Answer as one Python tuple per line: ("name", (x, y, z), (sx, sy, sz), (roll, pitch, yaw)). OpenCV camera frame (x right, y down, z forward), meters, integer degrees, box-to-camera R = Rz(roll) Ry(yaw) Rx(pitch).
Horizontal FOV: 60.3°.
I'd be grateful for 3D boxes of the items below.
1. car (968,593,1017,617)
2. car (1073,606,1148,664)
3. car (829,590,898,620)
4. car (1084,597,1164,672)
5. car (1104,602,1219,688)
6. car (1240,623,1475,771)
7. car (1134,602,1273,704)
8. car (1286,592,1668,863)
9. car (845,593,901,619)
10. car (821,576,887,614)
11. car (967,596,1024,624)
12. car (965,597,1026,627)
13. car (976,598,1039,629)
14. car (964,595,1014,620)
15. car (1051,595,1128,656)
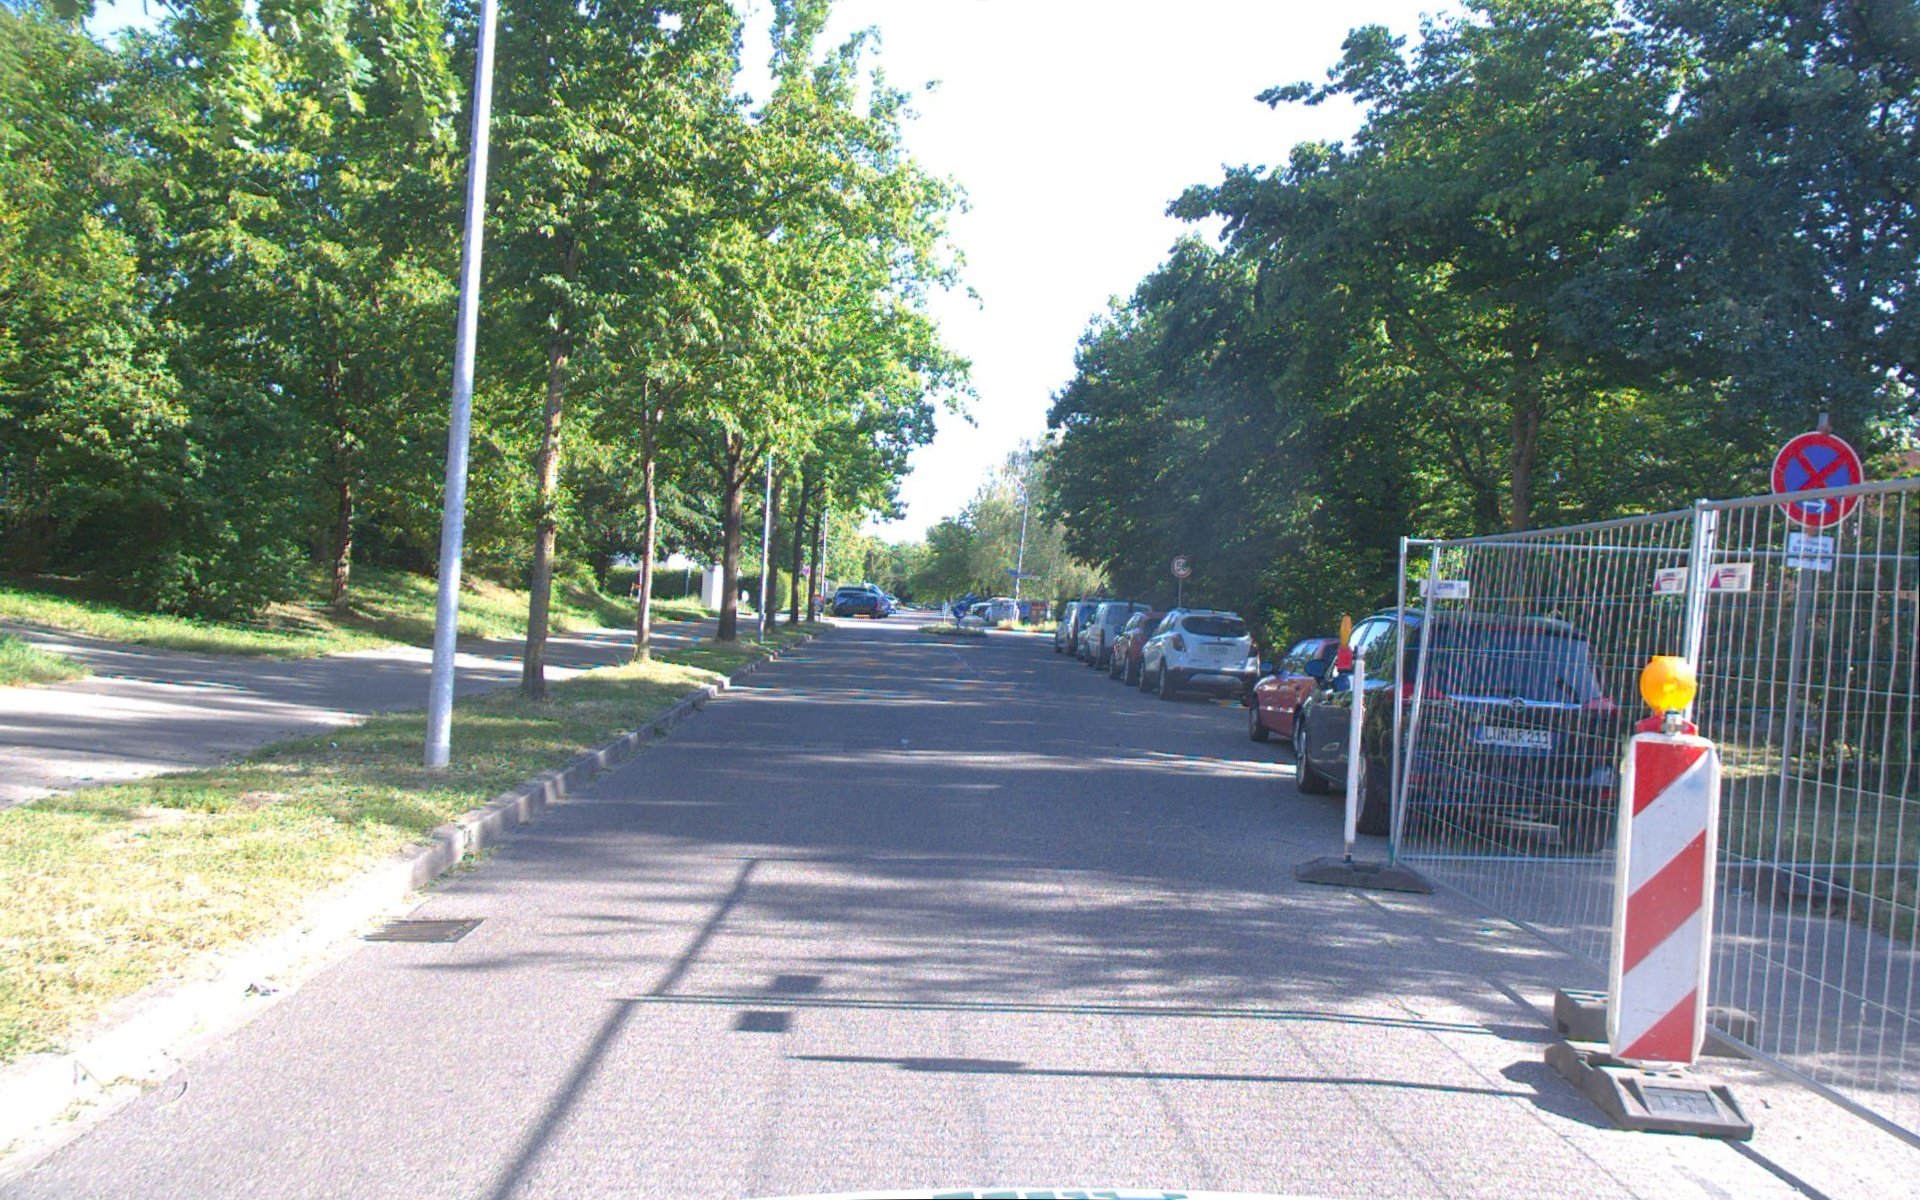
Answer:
("car", (2.660, 0.407, 133.516), (3.759, 1.603, 1.689), (5, 0, 3))
("car", (4.452, 1.008, 49.440), (1.657, 1.538, 4.205), (5, 0, -1))
("car", (-6.353, 0.356, 109.223), (4.228, 1.603, 2.047), (5, 0, 5))
("car", (4.346, 0.879, 44.240), (1.590, 1.803, 3.668), (5, 0, -1))
("car", (4.375, 0.937, 36.460), (1.740, 1.649, 4.062), (5, 0, -3))
("car", (4.620, 1.070, 19.843), (1.628, 1.399, 4.153), (5, 0, -2))
("car", (4.492, 0.932, 31.094), (1.740, 1.649, 4.062), (5, 0, -3))
("car", (3.933, 0.872, 13.396), (1.773, 1.679, 4.422), (5, 0, 3))
("car", (-6.568, 0.480, 125.523), (4.023, 1.603, 1.958), (5, 0, 0))
("car", (-8.646, -0.403, 134.417), (5.101, 2.666, 2.290), (5, 0, -6))
("car", (2.507, 0.703, 115.573), (3.758, 1.603, 1.689), (5, 0, 5))
("car", (2.312, 0.765, 107.761), (3.758, 1.603, 1.689), (5, 0, 5))
("car", (3.018, 0.866, 104.955), (3.758, 1.603, 1.689), (5, 0, 5))
("car", (2.312, 0.607, 130.374), (3.758, 1.603, 1.689), (5, 0, 5))
("car", (4.294, 0.809, 55.584), (1.756, 1.816, 4.552), (5, 0, -5))
